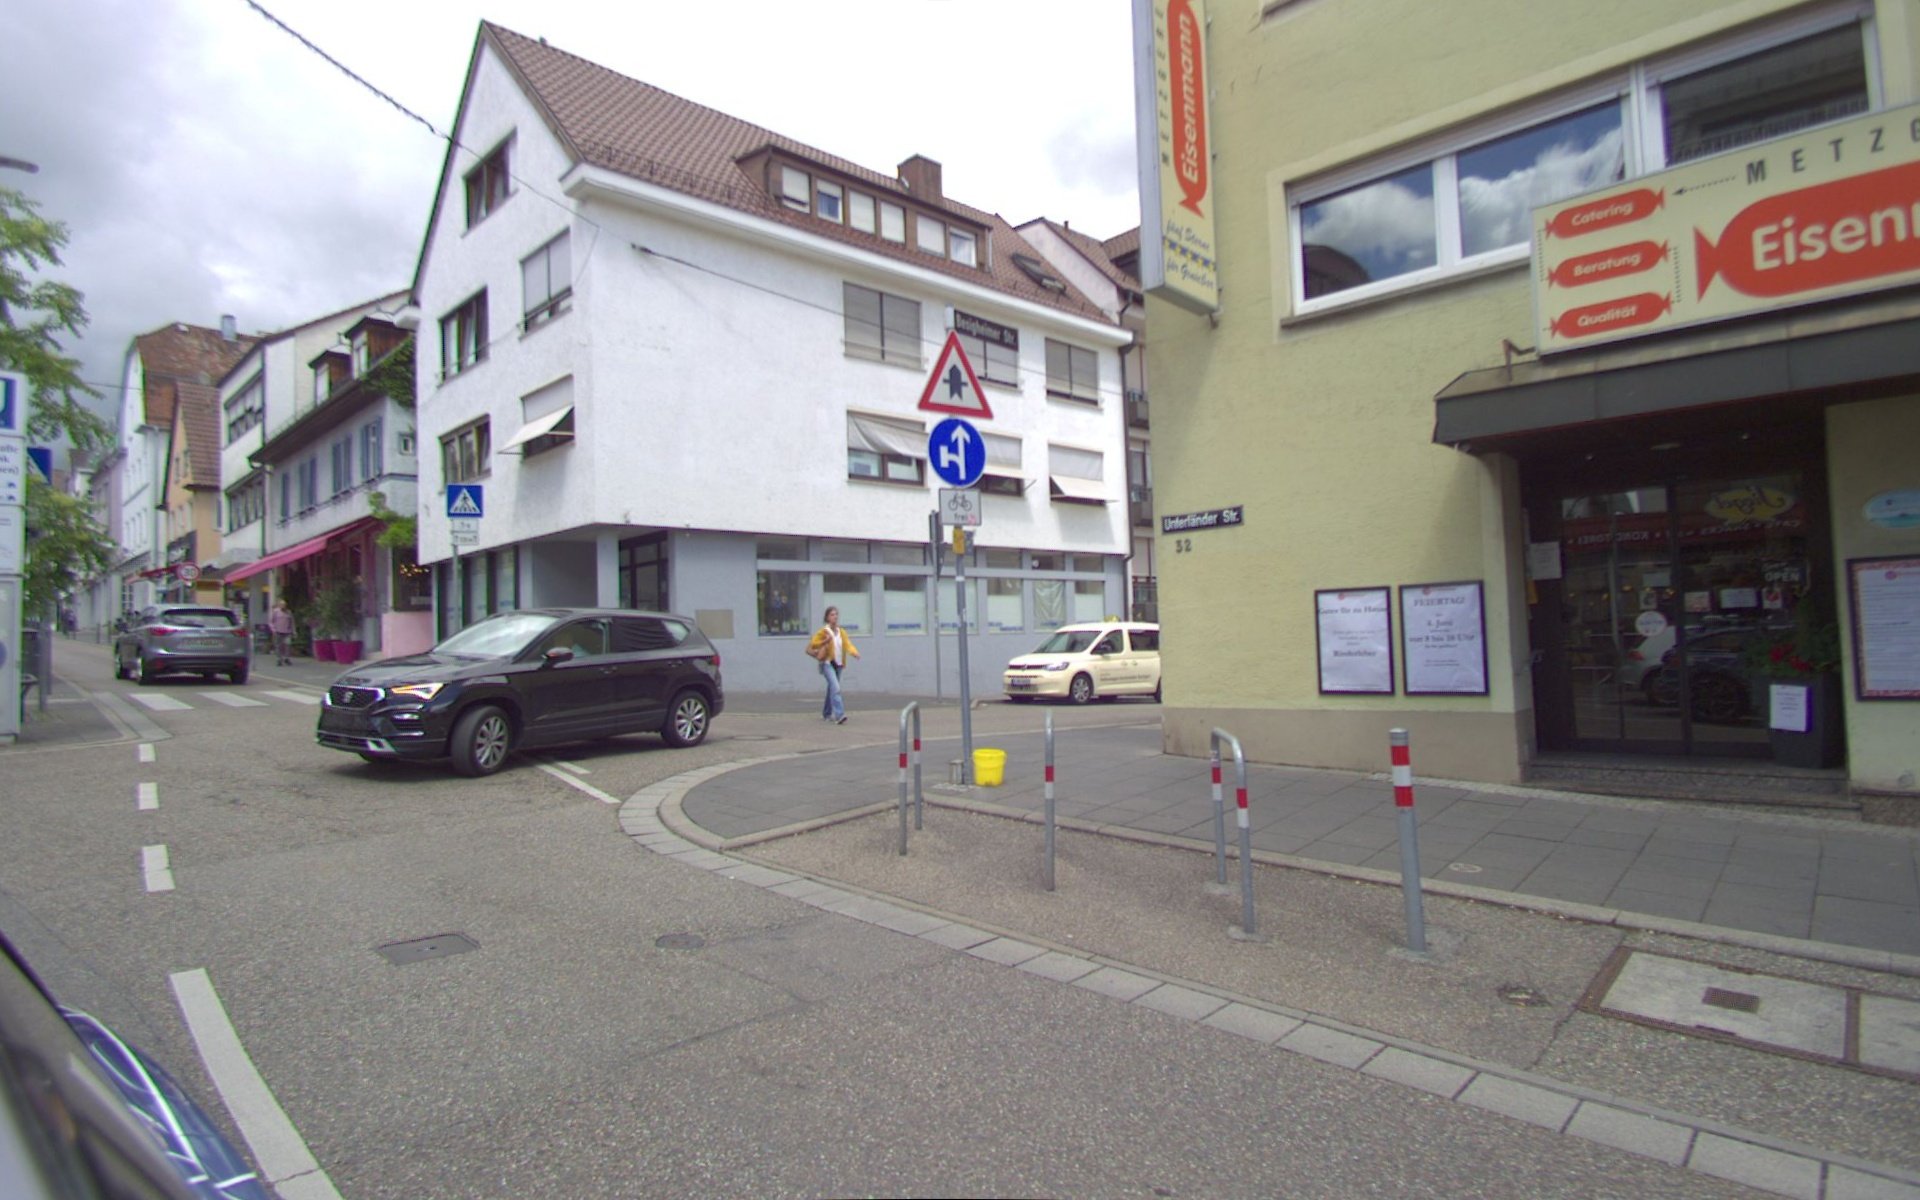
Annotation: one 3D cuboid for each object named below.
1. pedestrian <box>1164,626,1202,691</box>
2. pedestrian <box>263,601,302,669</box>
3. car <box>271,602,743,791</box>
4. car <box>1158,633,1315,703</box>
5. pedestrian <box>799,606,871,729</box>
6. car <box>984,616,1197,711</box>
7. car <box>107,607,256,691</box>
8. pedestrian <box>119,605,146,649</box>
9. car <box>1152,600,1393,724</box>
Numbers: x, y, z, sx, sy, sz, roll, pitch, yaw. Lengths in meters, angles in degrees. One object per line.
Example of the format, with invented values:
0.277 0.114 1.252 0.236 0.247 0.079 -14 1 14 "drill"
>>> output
6.166 1.605 27.998 0.822 1.752 0.639 1 -2 -40 "pedestrian"
-17.951 0.926 26.803 0.825 1.753 0.686 -1 -2 45 "pedestrian"
-4.524 0.883 10.851 1.907 1.581 4.328 -1 -2 30 "car"
7.126 1.750 25.918 4.030 1.633 2.003 4 -5 -41 "car"
-1.850 0.981 14.958 0.835 1.752 0.630 -1 -3 40 "pedestrian"
2.912 1.358 21.900 4.764 1.833 1.870 4 -3 -41 "car"
-16.831 1.005 21.812 4.357 1.633 1.941 -1 -3 45 "car"
-33.549 1.092 41.037 0.664 1.727 0.738 -1 -2 43 "pedestrian"
5.346 1.085 17.069 4.287 1.820 2.002 4 -7 -43 "car"
